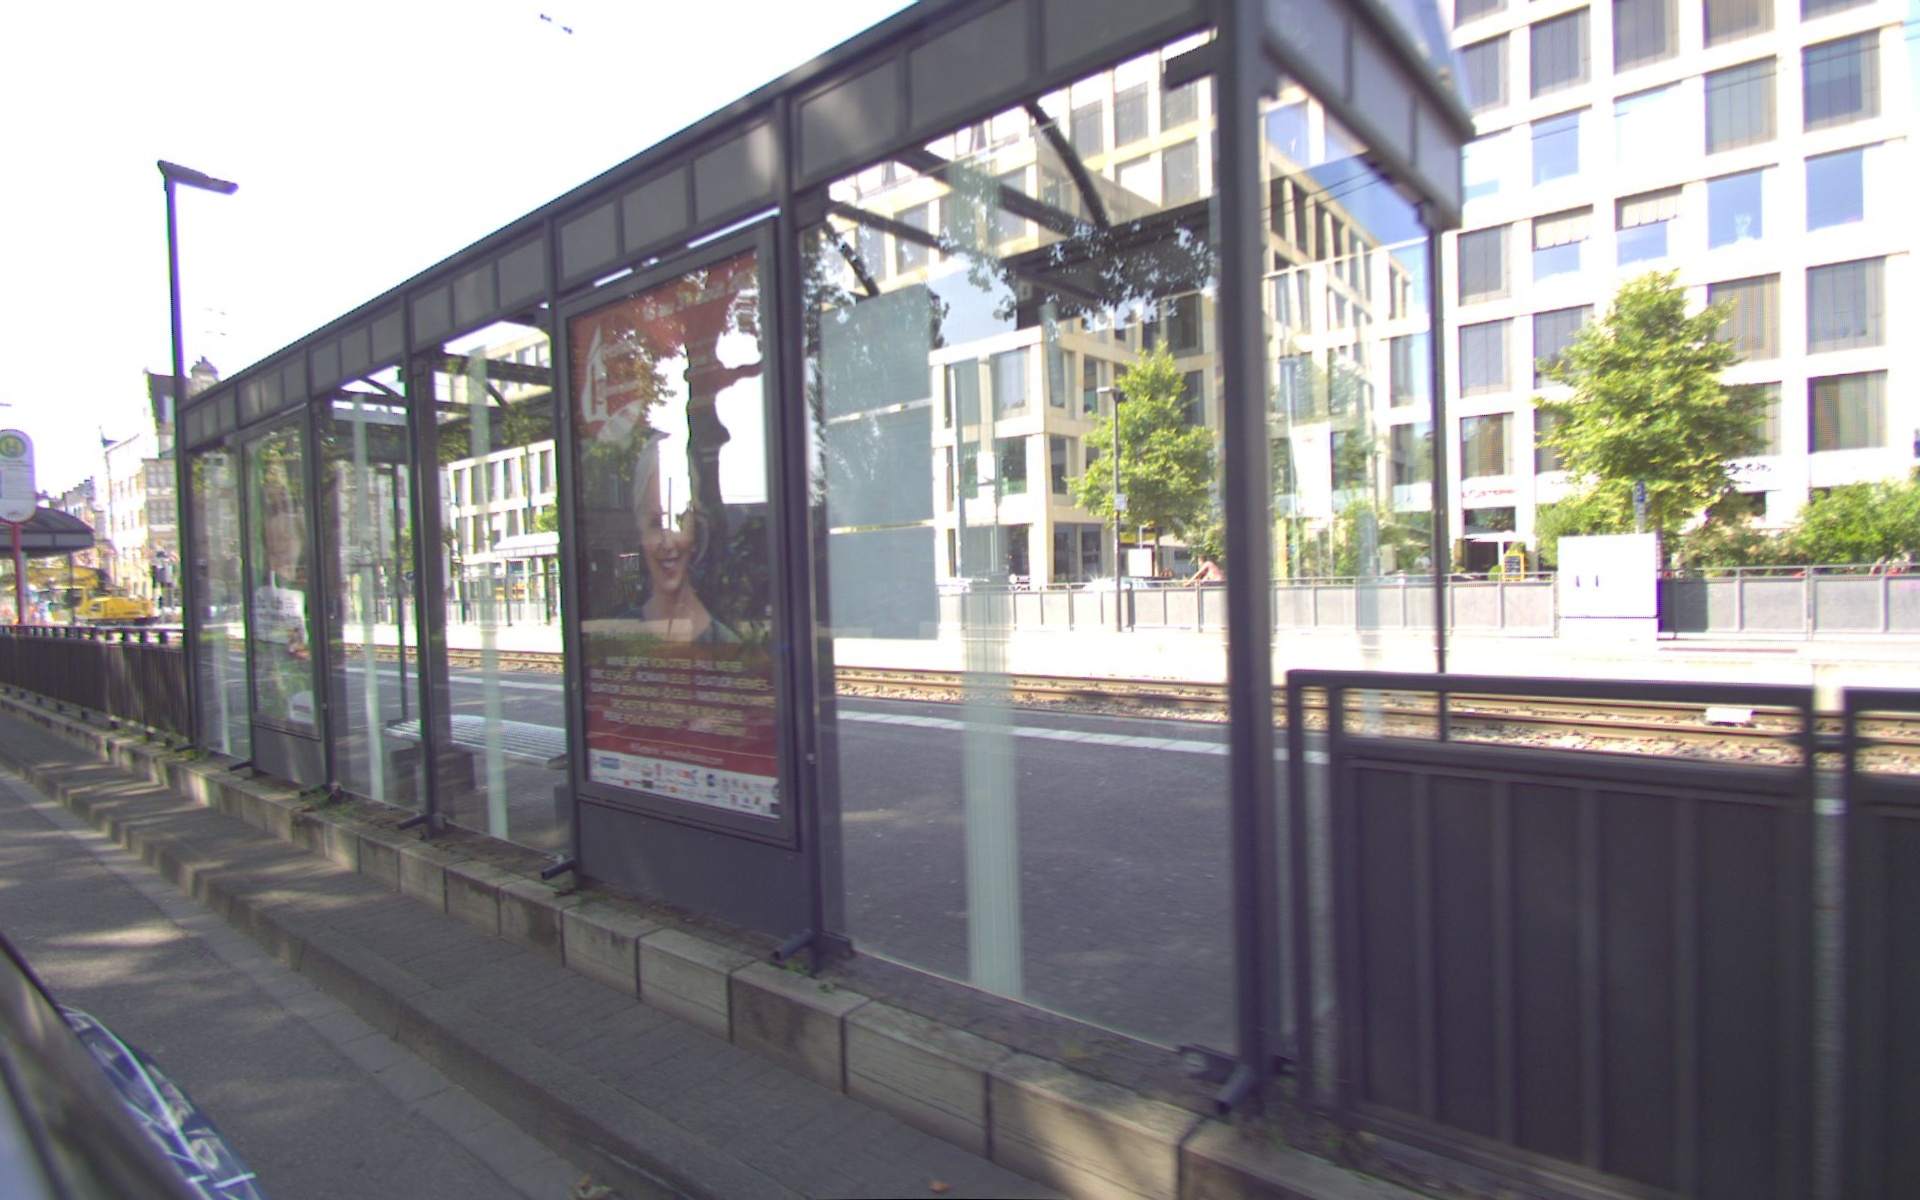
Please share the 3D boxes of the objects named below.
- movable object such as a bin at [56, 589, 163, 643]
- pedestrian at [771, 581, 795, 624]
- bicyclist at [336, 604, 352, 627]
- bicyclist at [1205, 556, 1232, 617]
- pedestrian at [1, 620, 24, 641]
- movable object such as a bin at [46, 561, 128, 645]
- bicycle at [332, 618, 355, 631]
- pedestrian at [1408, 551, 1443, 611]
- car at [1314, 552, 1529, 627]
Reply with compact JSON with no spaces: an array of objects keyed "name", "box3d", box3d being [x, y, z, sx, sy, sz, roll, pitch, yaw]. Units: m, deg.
[{"name":"movable object such as a bin","box3d":[-54.576,0.997,64.991,3.547,3.247,4.091,-2,0,25]},{"name":"pedestrian","box3d":[-8.464,0.110,48.350,0.822,2.029,0.758,-1,0,44]},{"name":"bicyclist","box3d":[-38.766,0.953,63.699,0.783,1.413,0.623,0,-1,40]},{"name":"bicyclist","box3d":[5.907,-0.307,23.145,0.447,1.371,0.383,-1,1,40]},{"name":"pedestrian","box3d":[-52.271,1.680,55.851,0.691,1.163,0.589,-2,0,-10]},{"name":"movable object such as a bin","box3d":[-49.785,0.163,57.712,4.211,4.588,2.955,-2,0,43]},{"name":"bicycle","box3d":[-38.851,1.540,63.757,1.896,0.828,0.623,0,-1,40]},{"name":"pedestrian","box3d":[16.151,-0.648,35.130,0.913,2.029,0.720,-1,1,42]},{"name":"car","box3d":[10.388,-0.207,22.942,4.128,1.546,1.746,-1,0,39]}]
